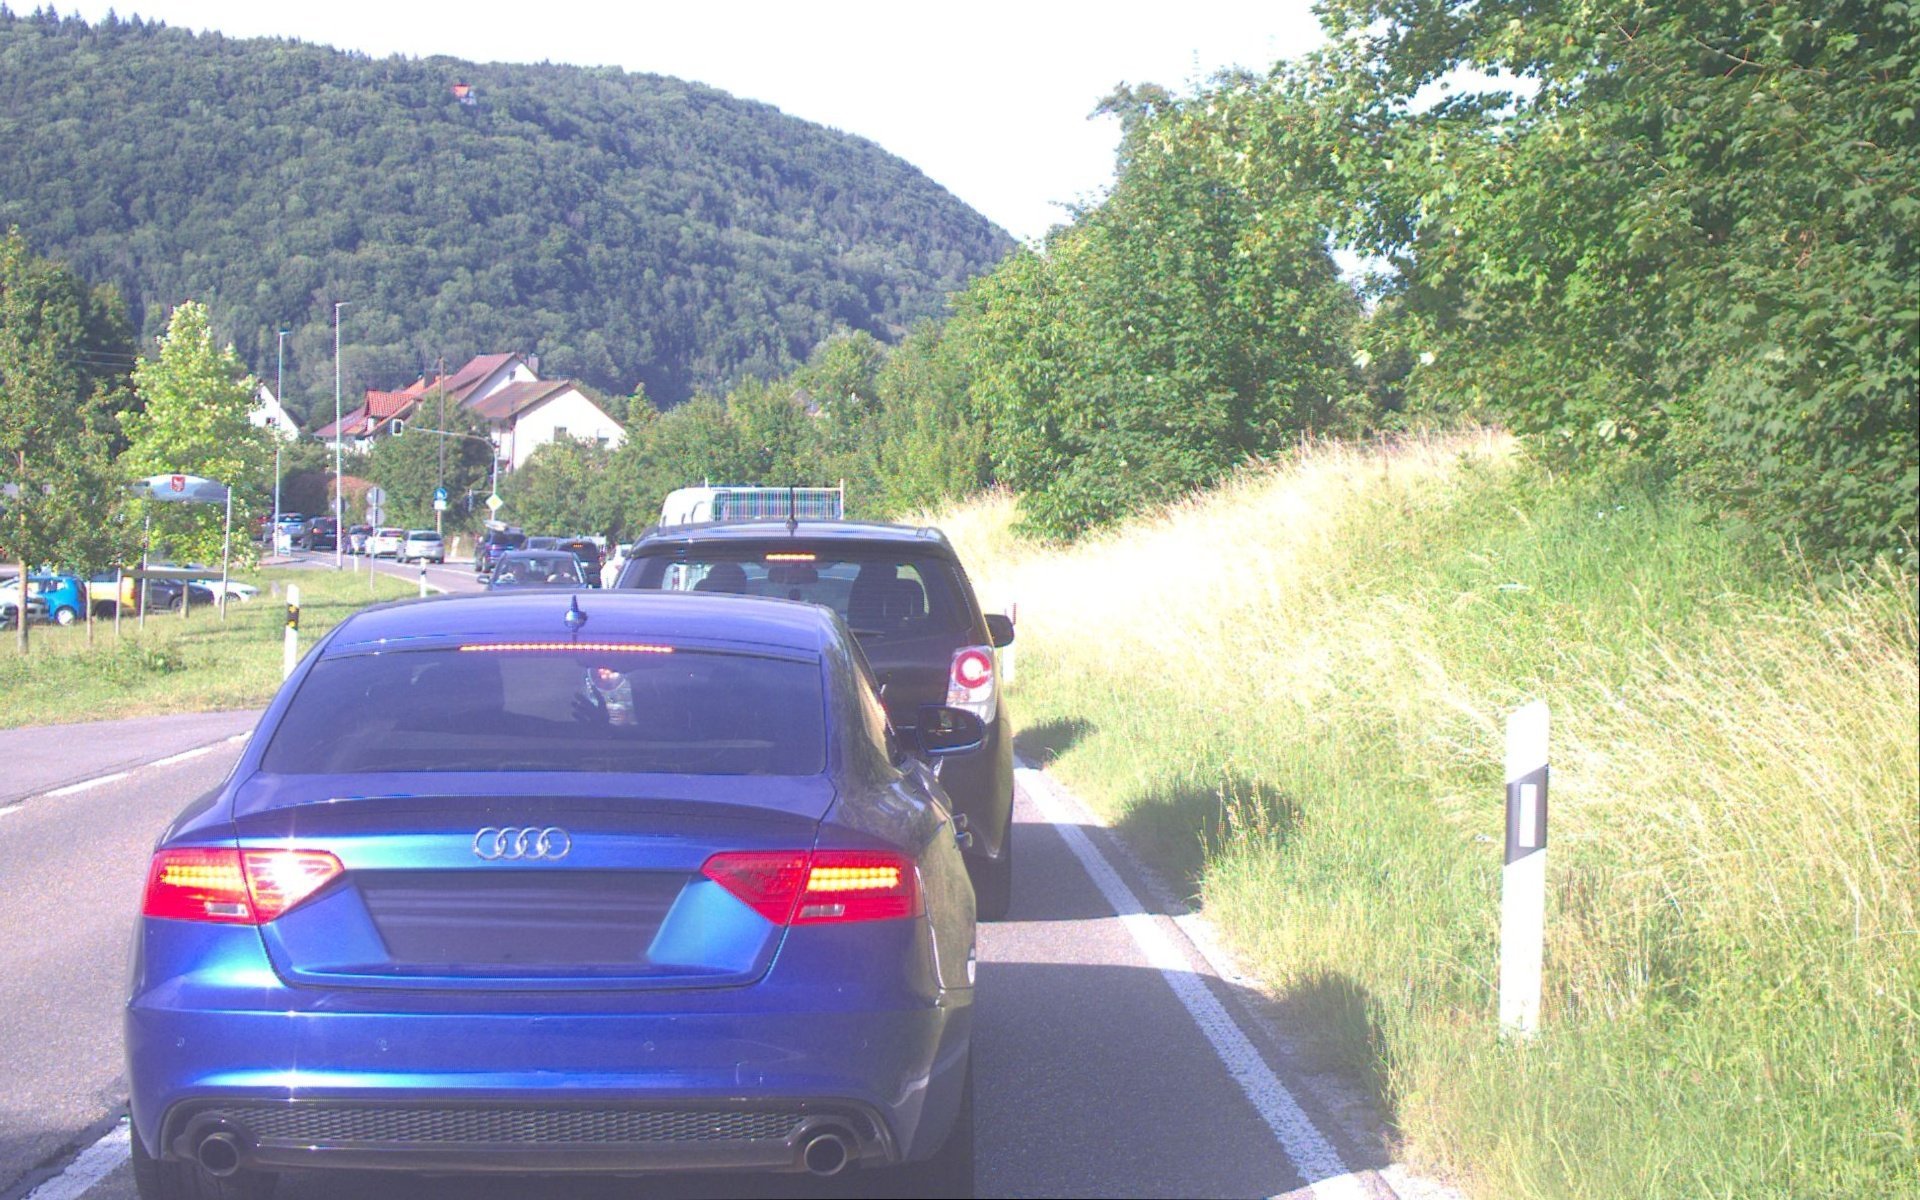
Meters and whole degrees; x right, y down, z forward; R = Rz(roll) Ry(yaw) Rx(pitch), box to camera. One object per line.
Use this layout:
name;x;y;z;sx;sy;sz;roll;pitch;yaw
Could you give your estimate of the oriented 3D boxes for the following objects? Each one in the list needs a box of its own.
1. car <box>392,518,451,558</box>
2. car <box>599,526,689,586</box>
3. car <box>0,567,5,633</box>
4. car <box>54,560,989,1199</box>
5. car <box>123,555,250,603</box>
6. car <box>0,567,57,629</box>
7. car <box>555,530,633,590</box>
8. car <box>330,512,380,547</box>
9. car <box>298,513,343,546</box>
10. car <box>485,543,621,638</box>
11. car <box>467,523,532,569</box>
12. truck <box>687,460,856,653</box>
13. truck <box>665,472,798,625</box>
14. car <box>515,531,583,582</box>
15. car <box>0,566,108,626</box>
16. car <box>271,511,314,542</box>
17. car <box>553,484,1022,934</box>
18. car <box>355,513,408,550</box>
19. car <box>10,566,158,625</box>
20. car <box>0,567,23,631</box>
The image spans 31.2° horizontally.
car;-23.903;-2.748;152.511;1.845;1.706;4.001;1;1;-20
car;-8.154;-1.122;88.488;1.845;1.477;4.001;1;1;-12
car;-26.923;-0.012;88.825;3.986;1.705;2.000;1;0;-3
car;-0.823;0.630;8.421;1.754;1.425;3.846;1;0;0
car;-26.661;-0.723;118.564;3.986;1.573;1.753;1;0;-3
car;-27.388;-0.082;95.766;3.986;1.705;2.000;1;0;-3
car;-10.807;-1.169;101.391;1.845;1.706;4.001;1;1;-12
car;-30.428;-3.510;172.843;1.845;1.706;4.001;1;1;-18
car;-34.221;-3.781;183.925;1.845;1.706;4.001;1;1;-18
car;-6.368;-0.161;54.167;1.704;1.425;4.051;1;1;-1
car;-17.421;-2.034;130.016;1.845;1.706;4.001;1;1;-16
truck;-2.702;-0.610;49.197;2.229;2.561;6.104;1;0;-3
truck;-4.139;-0.904;61.784;2.229;2.561;6.709;1;0;-4
car;-14.352;-1.523;119.900;1.845;1.706;4.001;1;1;-14
car;-27.402;-0.135;101.553;3.986;1.705;2.000;1;0;-3
car;-37.651;-4.147;193.898;1.845;1.706;4.001;1;1;-18
car;-0.644;0.394;14.915;1.754;1.675;3.846;1;0;0
car;-27.387;-3.228;162.744;1.845;1.706;4.001;1;1;-18
car;-26.500;-0.146;104.094;3.986;1.705;2.000;1;0;-3
car;-27.448;-0.053;92.481;3.986;1.705;2.000;1;0;-3
